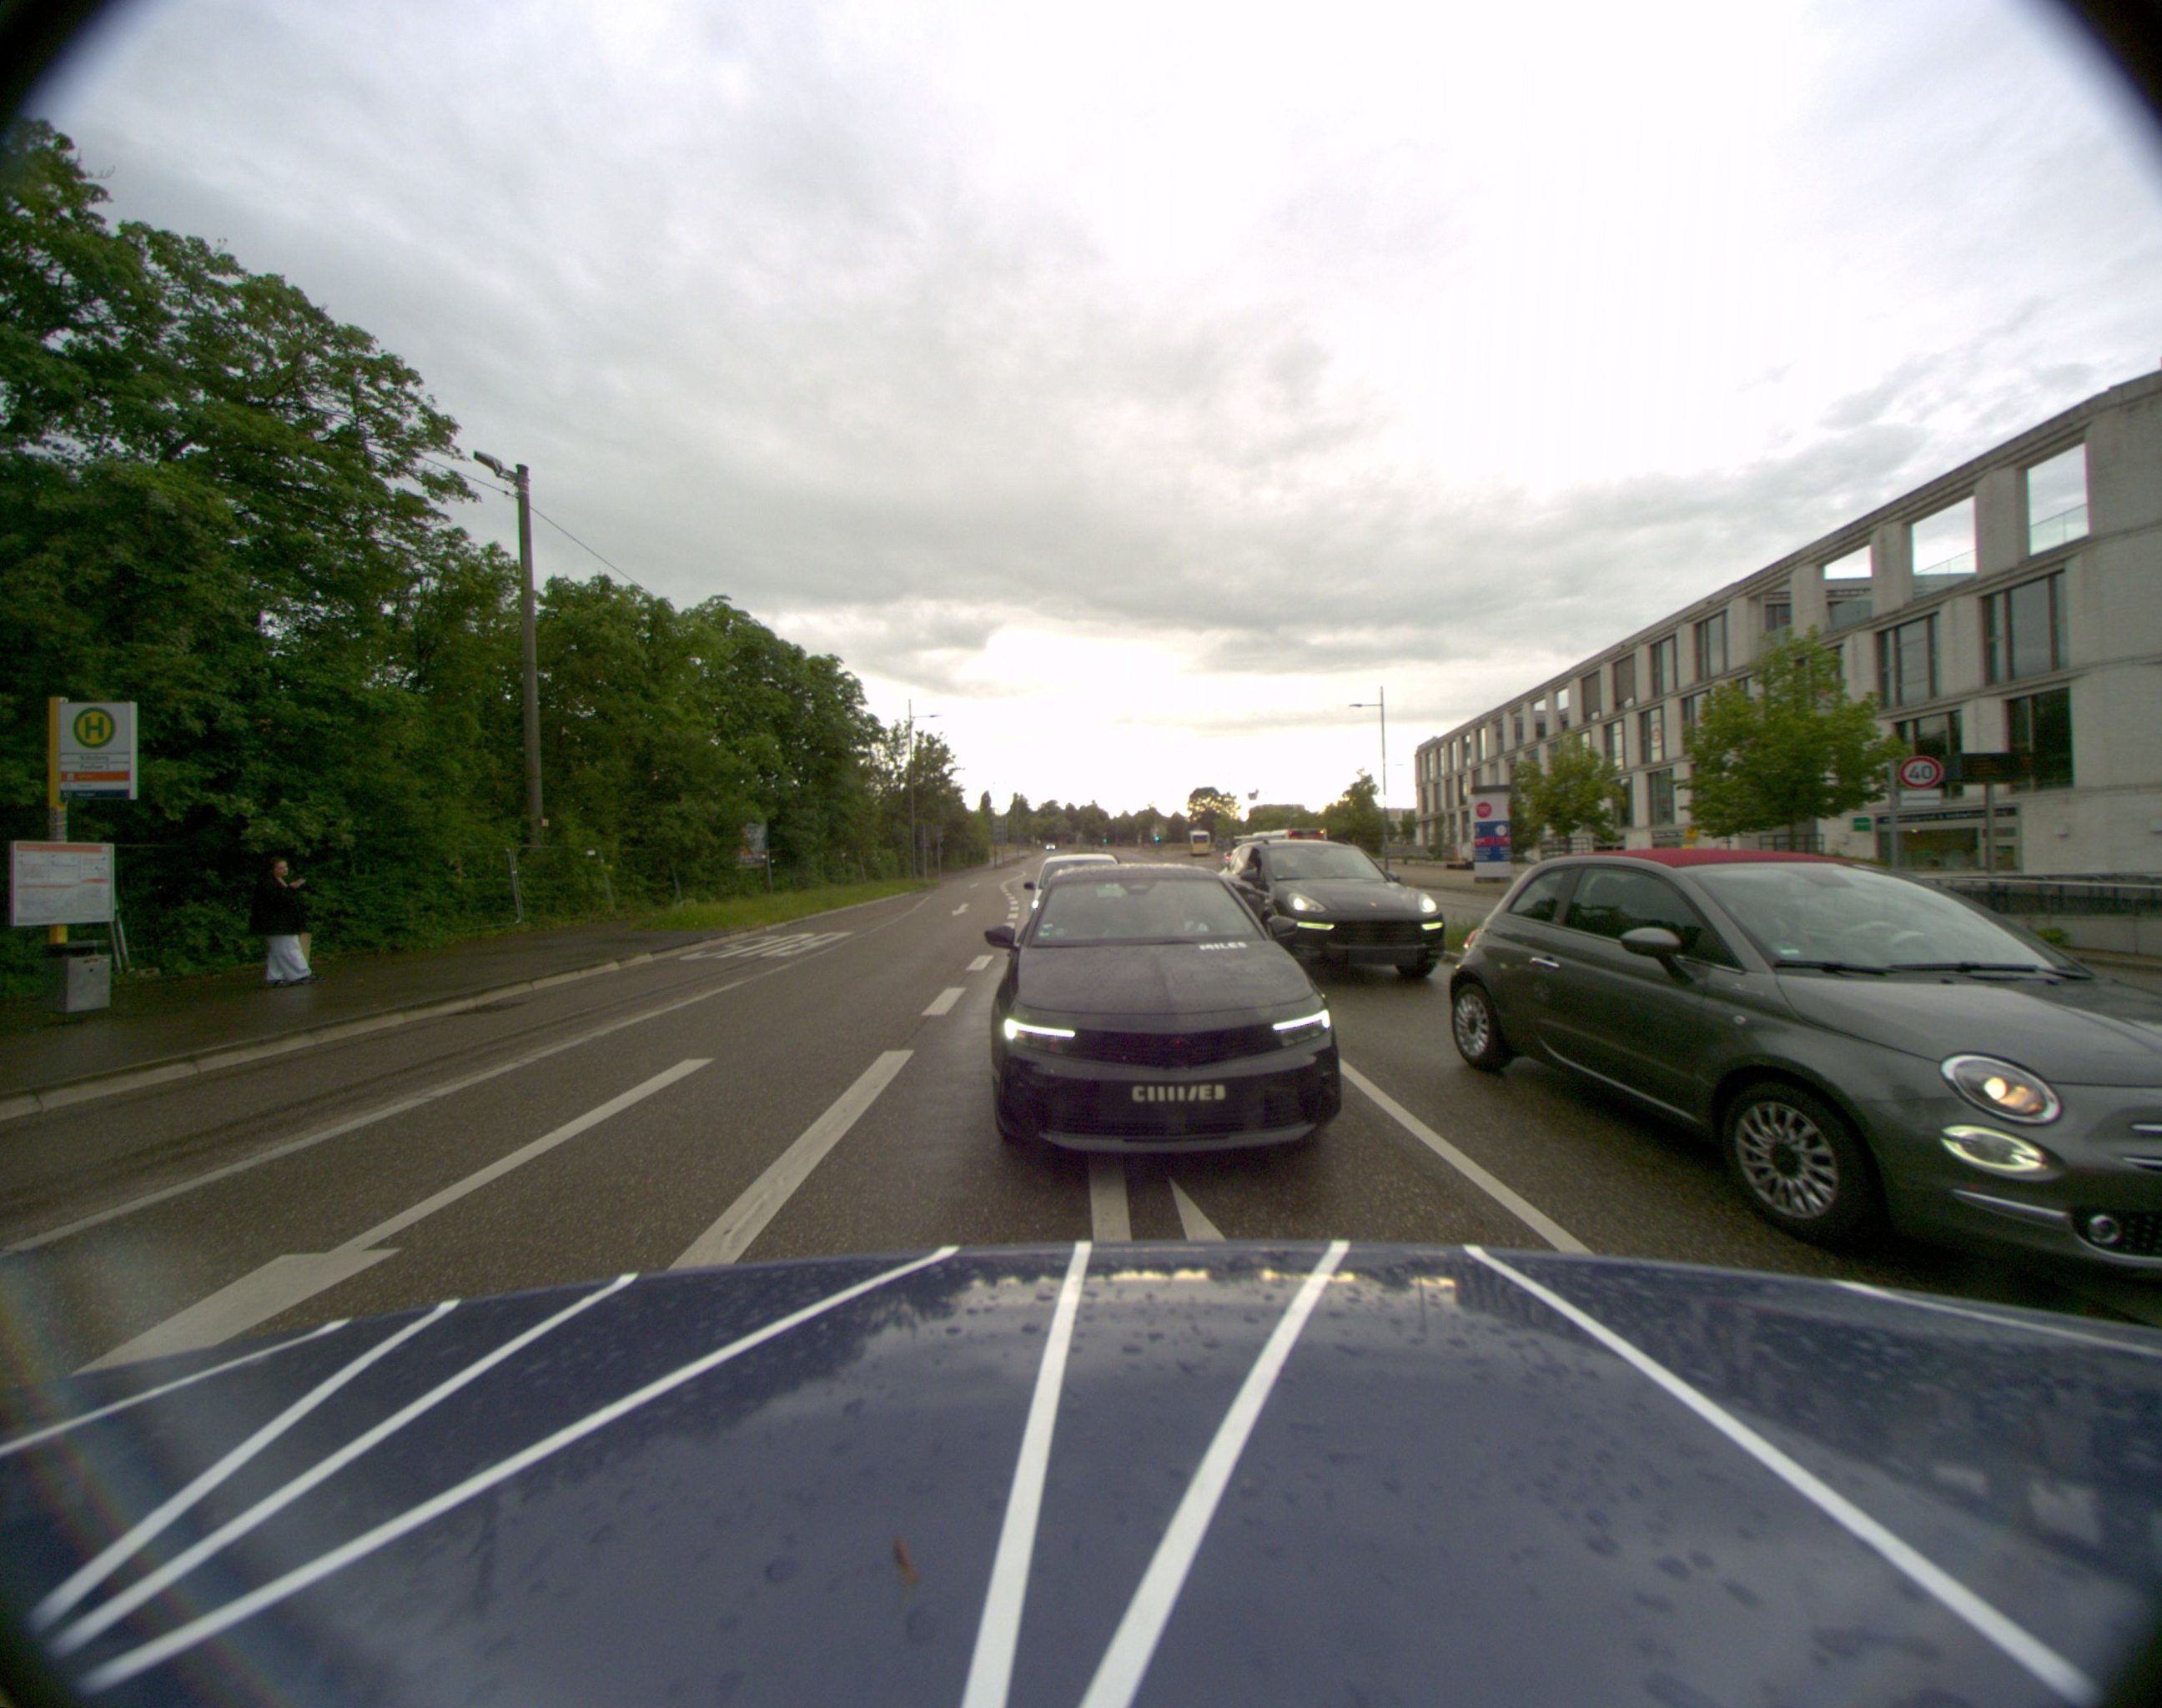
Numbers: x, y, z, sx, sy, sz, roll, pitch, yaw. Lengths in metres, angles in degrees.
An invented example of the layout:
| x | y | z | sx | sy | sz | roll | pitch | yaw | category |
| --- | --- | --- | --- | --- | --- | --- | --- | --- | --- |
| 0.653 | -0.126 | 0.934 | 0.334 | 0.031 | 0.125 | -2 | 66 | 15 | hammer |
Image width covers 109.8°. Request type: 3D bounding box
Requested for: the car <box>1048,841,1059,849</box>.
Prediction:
| x | y | z | sx | sy | sz | roll | pitch | yaw | category |
| --- | --- | --- | --- | --- | --- | --- | --- | --- | --- |
| -6.550 | -2.080 | 180.973 | 2.000 | 1.805 | 3.996 | -2 | 1 | -10 | car |

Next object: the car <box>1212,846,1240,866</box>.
| x | y | z | sx | sy | sz | roll | pitch | yaw | category |
| --- | --- | --- | --- | --- | --- | --- | --- | --- | --- |
| 13.576 | 0.167 | 71.223 | 1.867 | 1.777 | 3.999 | -2 | 1 | 1 | car |

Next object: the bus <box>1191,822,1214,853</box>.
| x | y | z | sx | sy | sz | roll | pitch | yaw | category |
| --- | --- | --- | --- | --- | --- | --- | --- | --- | --- |
| 18.394 | -2.416 | 114.011 | 2.757 | 4.129 | 19.359 | -2 | 1 | 11 | bus |

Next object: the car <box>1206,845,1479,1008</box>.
| x | y | z | sx | sy | sz | roll | pitch | yaw | category |
| --- | --- | --- | --- | --- | --- | --- | --- | --- | --- |
| 3.089 | 0.727 | 10.151 | 1.934 | 1.649 | 4.617 | -1 | 0 | -2 | car |

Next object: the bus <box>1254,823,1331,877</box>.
| x | y | z | sx | sy | sz | roll | pitch | yaw | category |
| --- | --- | --- | --- | --- | --- | --- | --- | --- | --- |
| 13.823 | -0.309 | 50.533 | 2.759 | 3.194 | 9.207 | -2 | 1 | 2 | bus |

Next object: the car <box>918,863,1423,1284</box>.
| x | y | z | sx | sy | sz | roll | pitch | yaw | category |
| --- | --- | --- | --- | --- | --- | --- | --- | --- | --- |
| 0.380 | 0.884 | 5.318 | 1.901 | 1.456 | 4.767 | -2 | 1 | 1 | car |

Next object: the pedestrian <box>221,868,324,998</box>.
| x | y | z | sx | sy | sz | roll | pitch | yaw | category |
| --- | --- | --- | --- | --- | --- | --- | --- | --- | --- |
| -10.557 | 1.009 | 9.945 | 0.588 | 1.618 | 0.661 | -1 | 1 | 1 | pedestrian |

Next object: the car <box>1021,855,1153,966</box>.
| x | y | z | sx | sy | sz | roll | pitch | yaw | category |
| --- | --- | --- | --- | --- | --- | --- | --- | --- | --- |
| 0.116 | 0.845 | 13.645 | 1.901 | 1.524 | 4.767 | -2 | 1 | 1 | car |

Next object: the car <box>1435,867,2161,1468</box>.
| x | y | z | sx | sy | sz | roll | pitch | yaw | category |
| --- | --- | --- | --- | --- | --- | --- | --- | --- | --- |
| 3.430 | 0.858 | 3.769 | 1.631 | 1.473 | 3.505 | -1 | 1 | -2 | car |

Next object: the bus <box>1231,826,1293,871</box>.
| x | y | z | sx | sy | sz | roll | pitch | yaw | category |
| --- | --- | --- | --- | --- | --- | --- | --- | --- | --- |
| 14.114 | -0.448 | 60.038 | 2.693 | 3.163 | 9.912 | -2 | 1 | 2 | bus |
